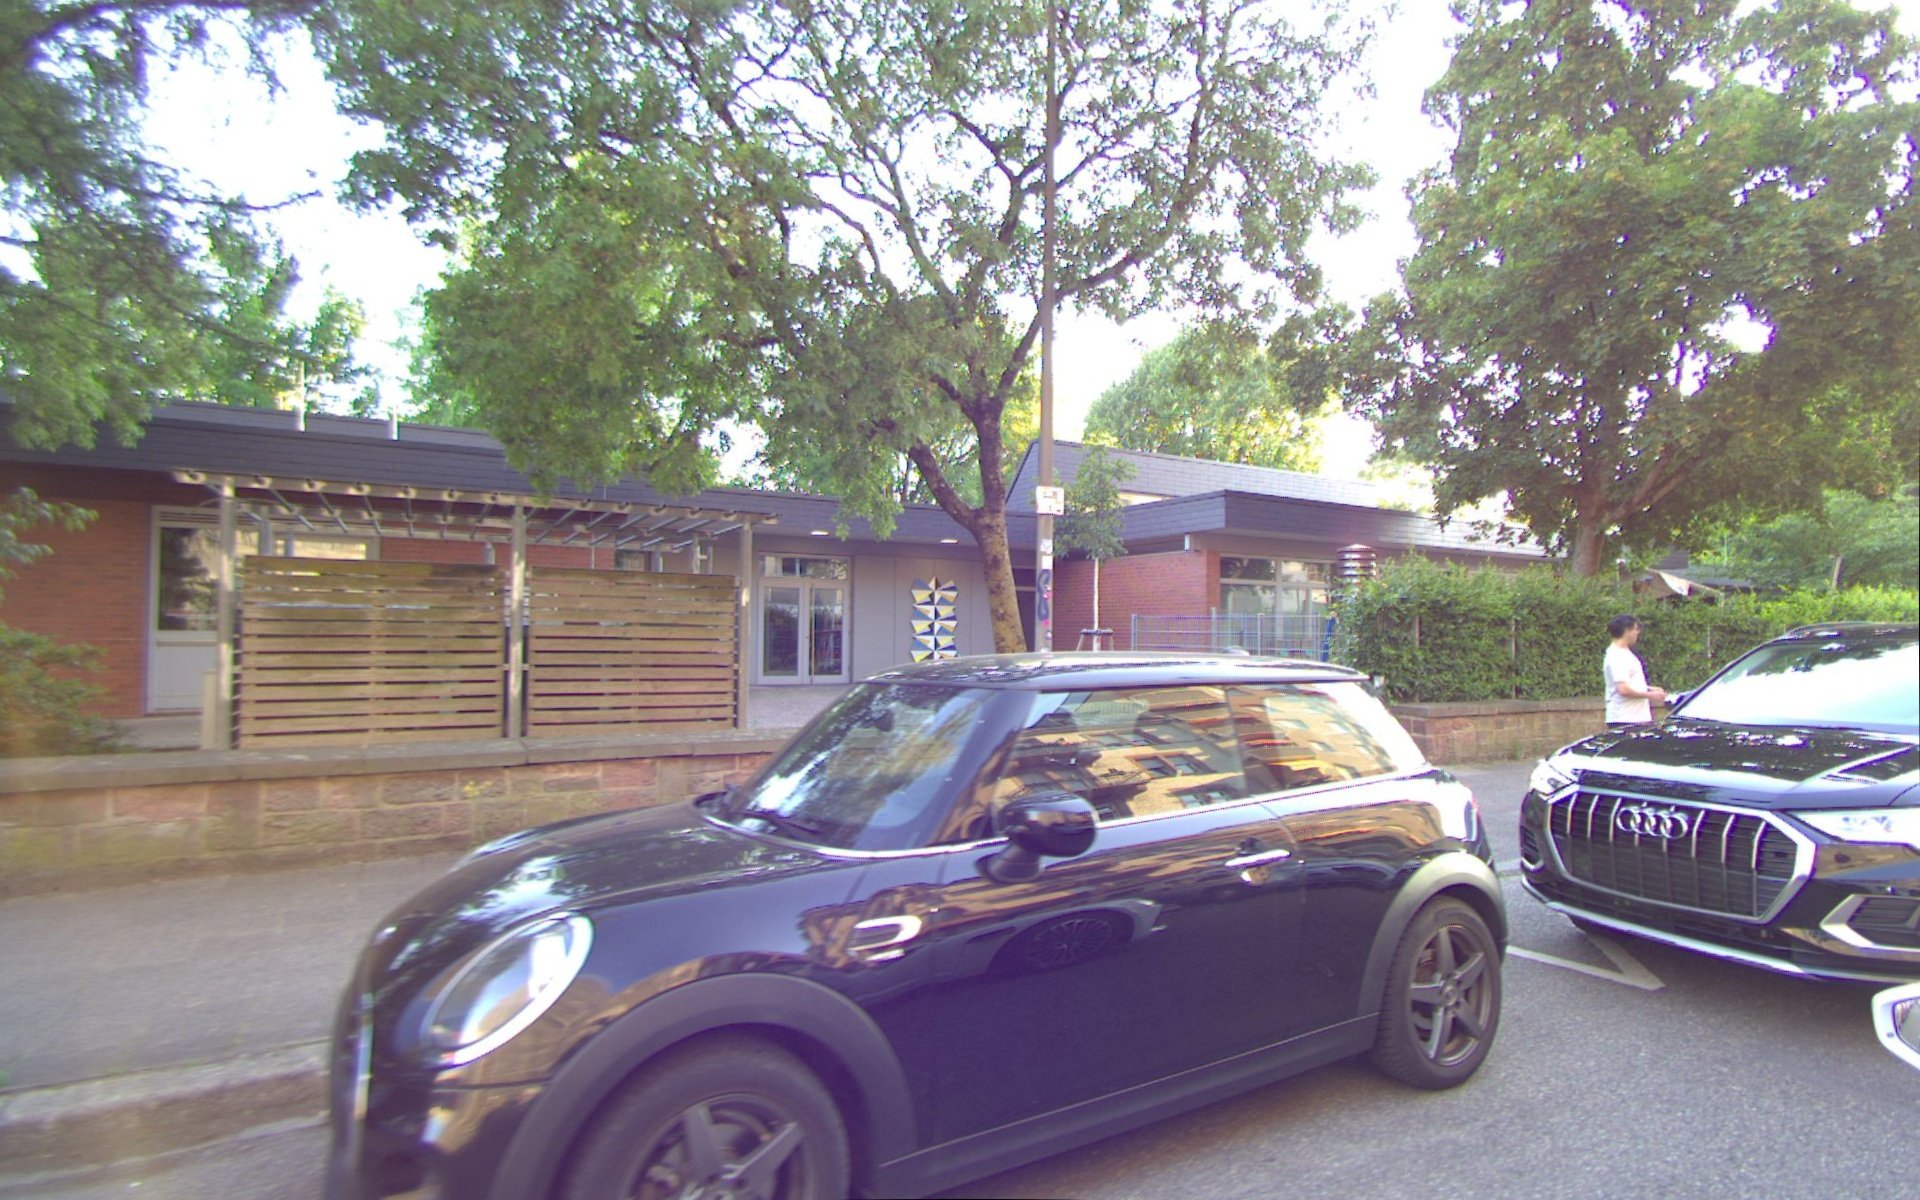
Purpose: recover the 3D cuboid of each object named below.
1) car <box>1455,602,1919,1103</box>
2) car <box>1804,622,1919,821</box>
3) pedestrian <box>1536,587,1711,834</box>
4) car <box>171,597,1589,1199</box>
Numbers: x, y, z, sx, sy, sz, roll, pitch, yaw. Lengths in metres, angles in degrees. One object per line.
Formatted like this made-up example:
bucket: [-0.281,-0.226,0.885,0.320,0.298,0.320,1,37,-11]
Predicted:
car: [4.803,0.887,4.900,4.500,1.590,1.801,1,-2,-23]
car: [9.789,1.052,9.197,3.950,1.652,1.777,2,-4,-28]
pedestrian: [5.358,0.841,8.137,0.778,1.855,0.933,2,-1,-31]
car: [0.085,0.833,3.280,3.944,1.497,1.630,2,-3,-29]
